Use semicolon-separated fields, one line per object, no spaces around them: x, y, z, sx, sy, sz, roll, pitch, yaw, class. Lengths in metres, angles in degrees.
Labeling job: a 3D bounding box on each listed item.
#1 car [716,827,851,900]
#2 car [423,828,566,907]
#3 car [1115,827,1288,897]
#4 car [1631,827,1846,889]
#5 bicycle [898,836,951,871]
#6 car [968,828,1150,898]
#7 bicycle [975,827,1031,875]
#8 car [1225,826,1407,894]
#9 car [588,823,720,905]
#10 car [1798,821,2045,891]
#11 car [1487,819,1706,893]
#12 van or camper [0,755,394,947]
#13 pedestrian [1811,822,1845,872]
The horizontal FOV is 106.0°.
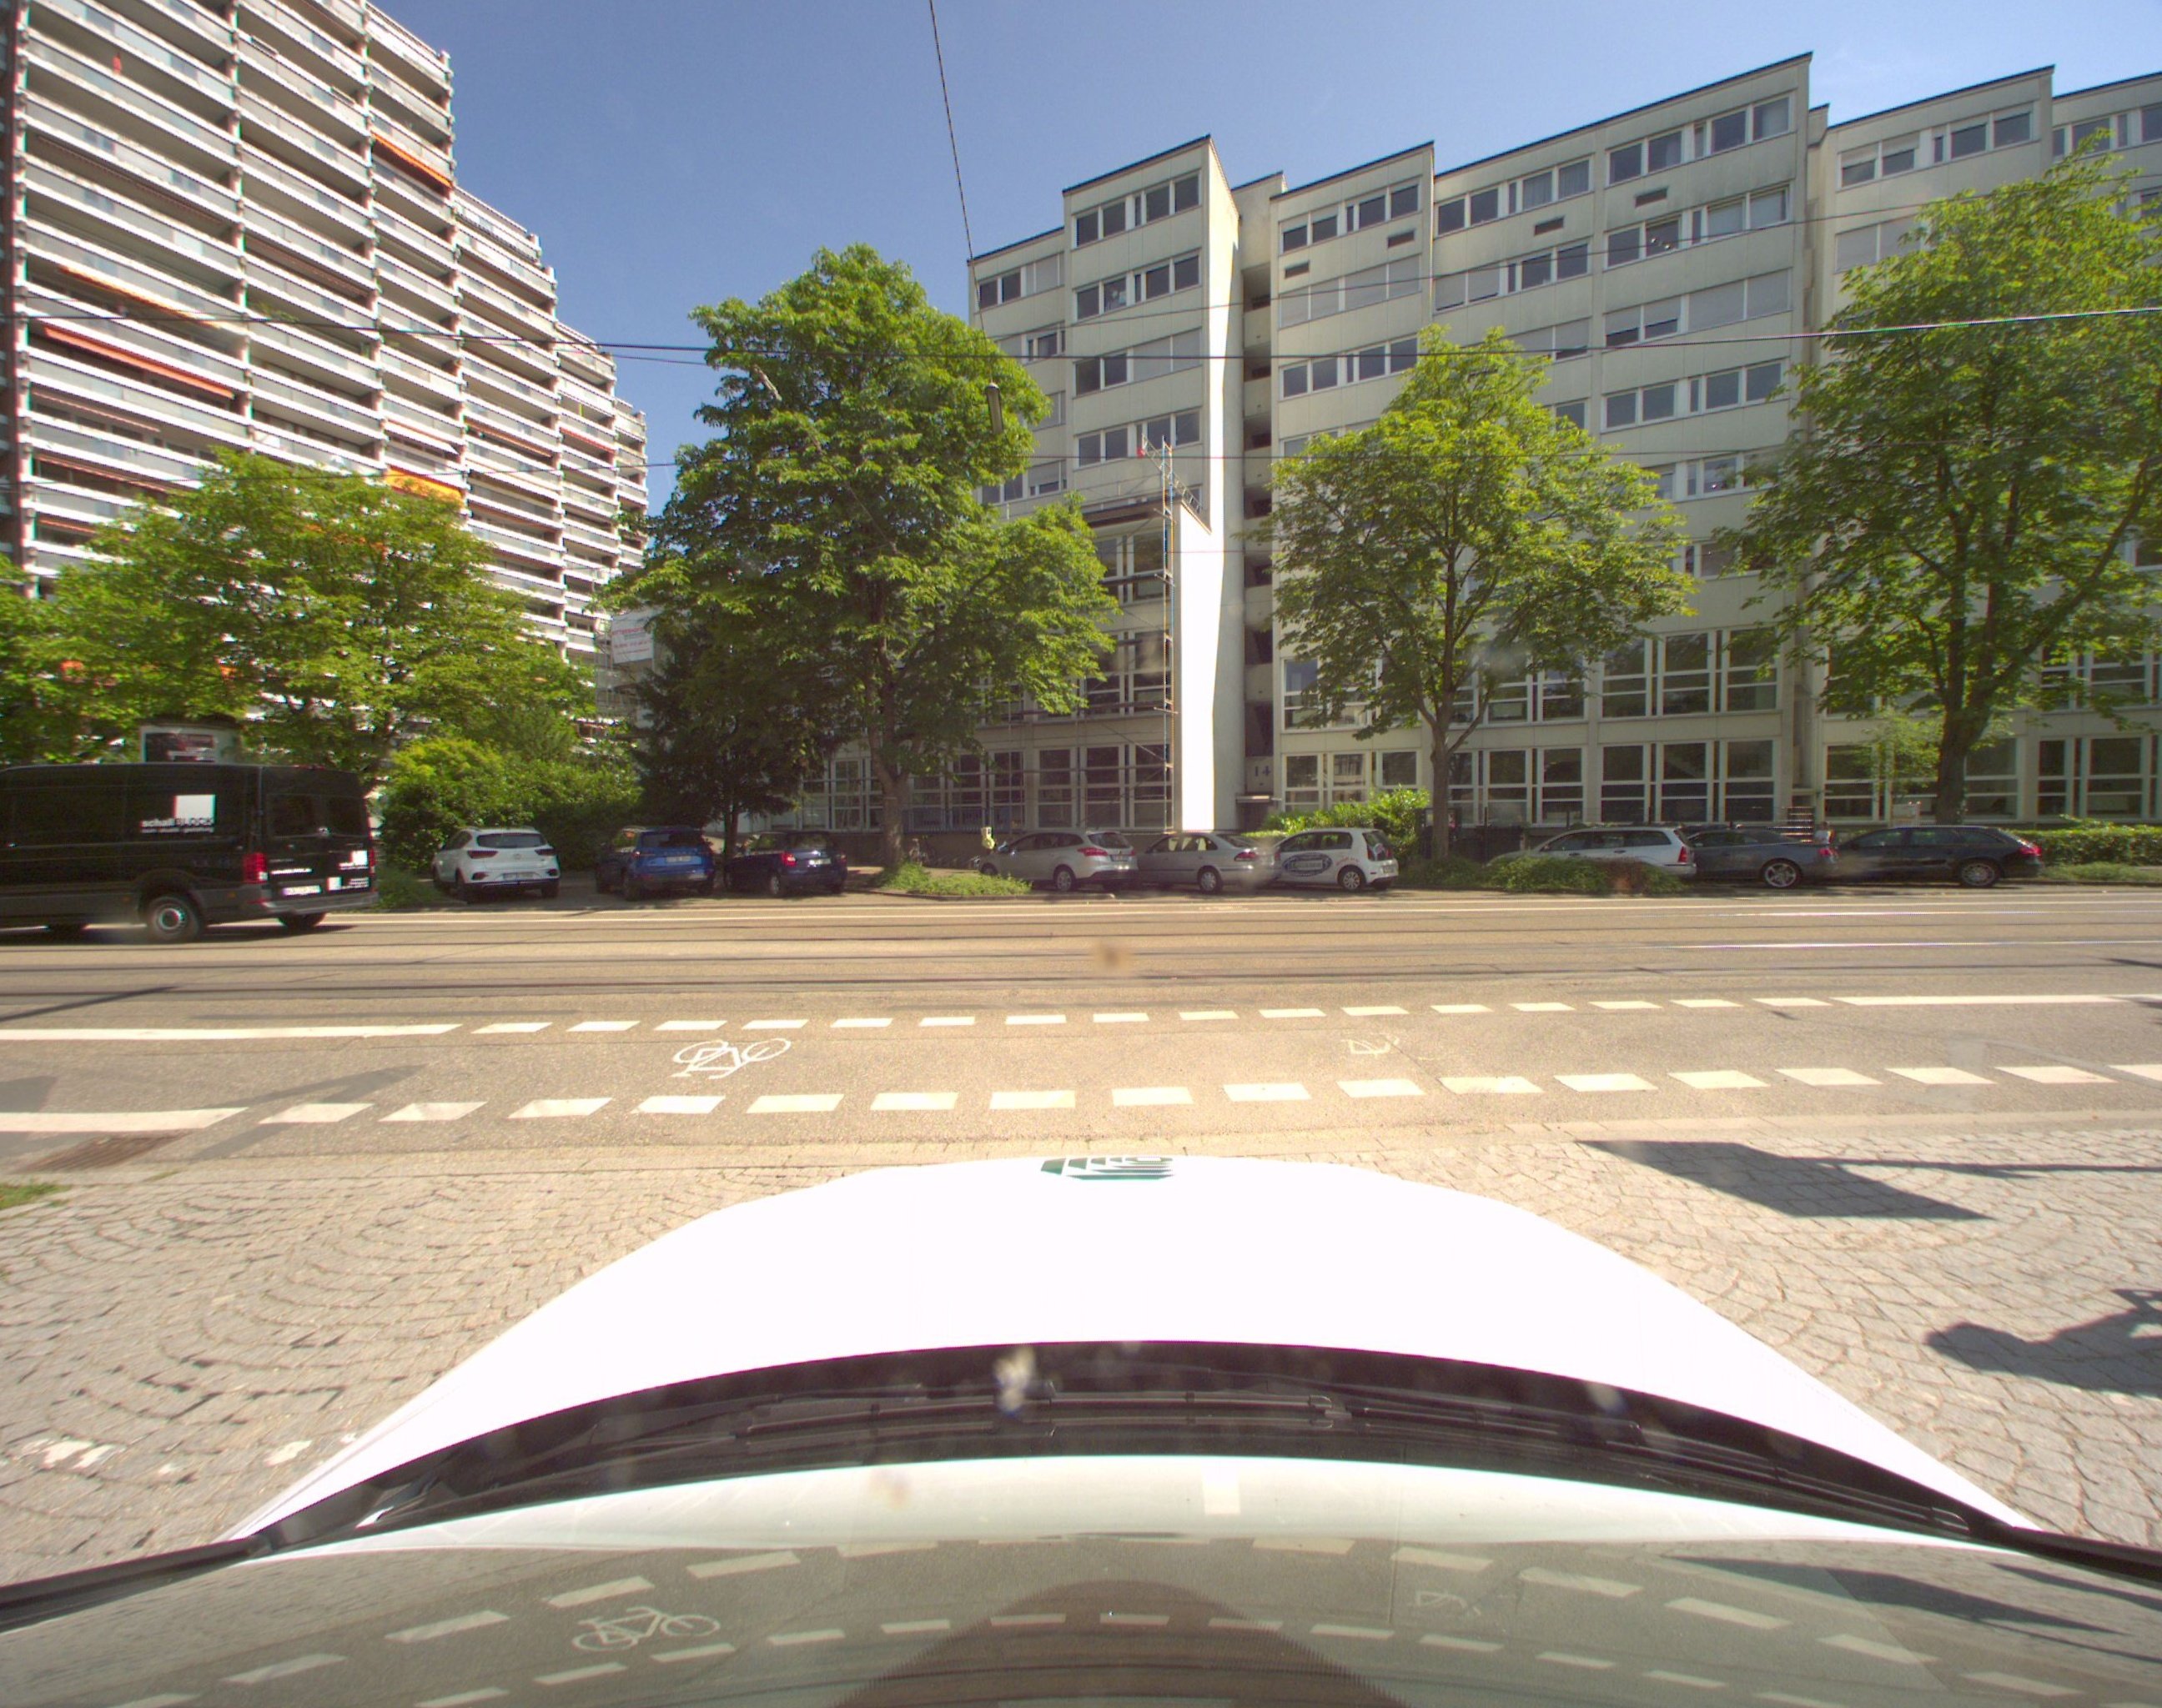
-6.981;0.163;18.972;3.415;1.530;1.586;1;2;44;car
-13.464;0.232;18.630;3.895;1.606;1.831;1;2;42;car
2.773;0.123;19.375;1.622;1.486;3.897;-2;2;-44;car
15.687;0.040;19.559;3.896;1.357;1.568;1;2;44;car
-5.132;-0.025;26.943;0.735;1.085;2.214;0;2;18;bicycle
-0.620;0.144;19.586;4.380;1.486;1.795;1;2;44;car
-2.474;-0.119;26.100;0.655;1.453;2.103;0;2;30;bicycle
5.589;0.111;19.674;1.622;1.486;3.896;-2;1;-45;car
-9.995;0.130;18.943;1.790;1.622;3.899;-3;4;-42;car
19.417;-0.007;19.054;3.896;1.486;1.568;1;2;44;car
12.391;0.006;19.740;4.289;1.604;1.568;1;1;41;car
-14.225;-0.060;12.272;5.825;2.619;2.050;-1;2;-1;van or camper
21.871;-0.214;23.845;0.618;1.460;0.424;-1;1;-4;pedestrian
